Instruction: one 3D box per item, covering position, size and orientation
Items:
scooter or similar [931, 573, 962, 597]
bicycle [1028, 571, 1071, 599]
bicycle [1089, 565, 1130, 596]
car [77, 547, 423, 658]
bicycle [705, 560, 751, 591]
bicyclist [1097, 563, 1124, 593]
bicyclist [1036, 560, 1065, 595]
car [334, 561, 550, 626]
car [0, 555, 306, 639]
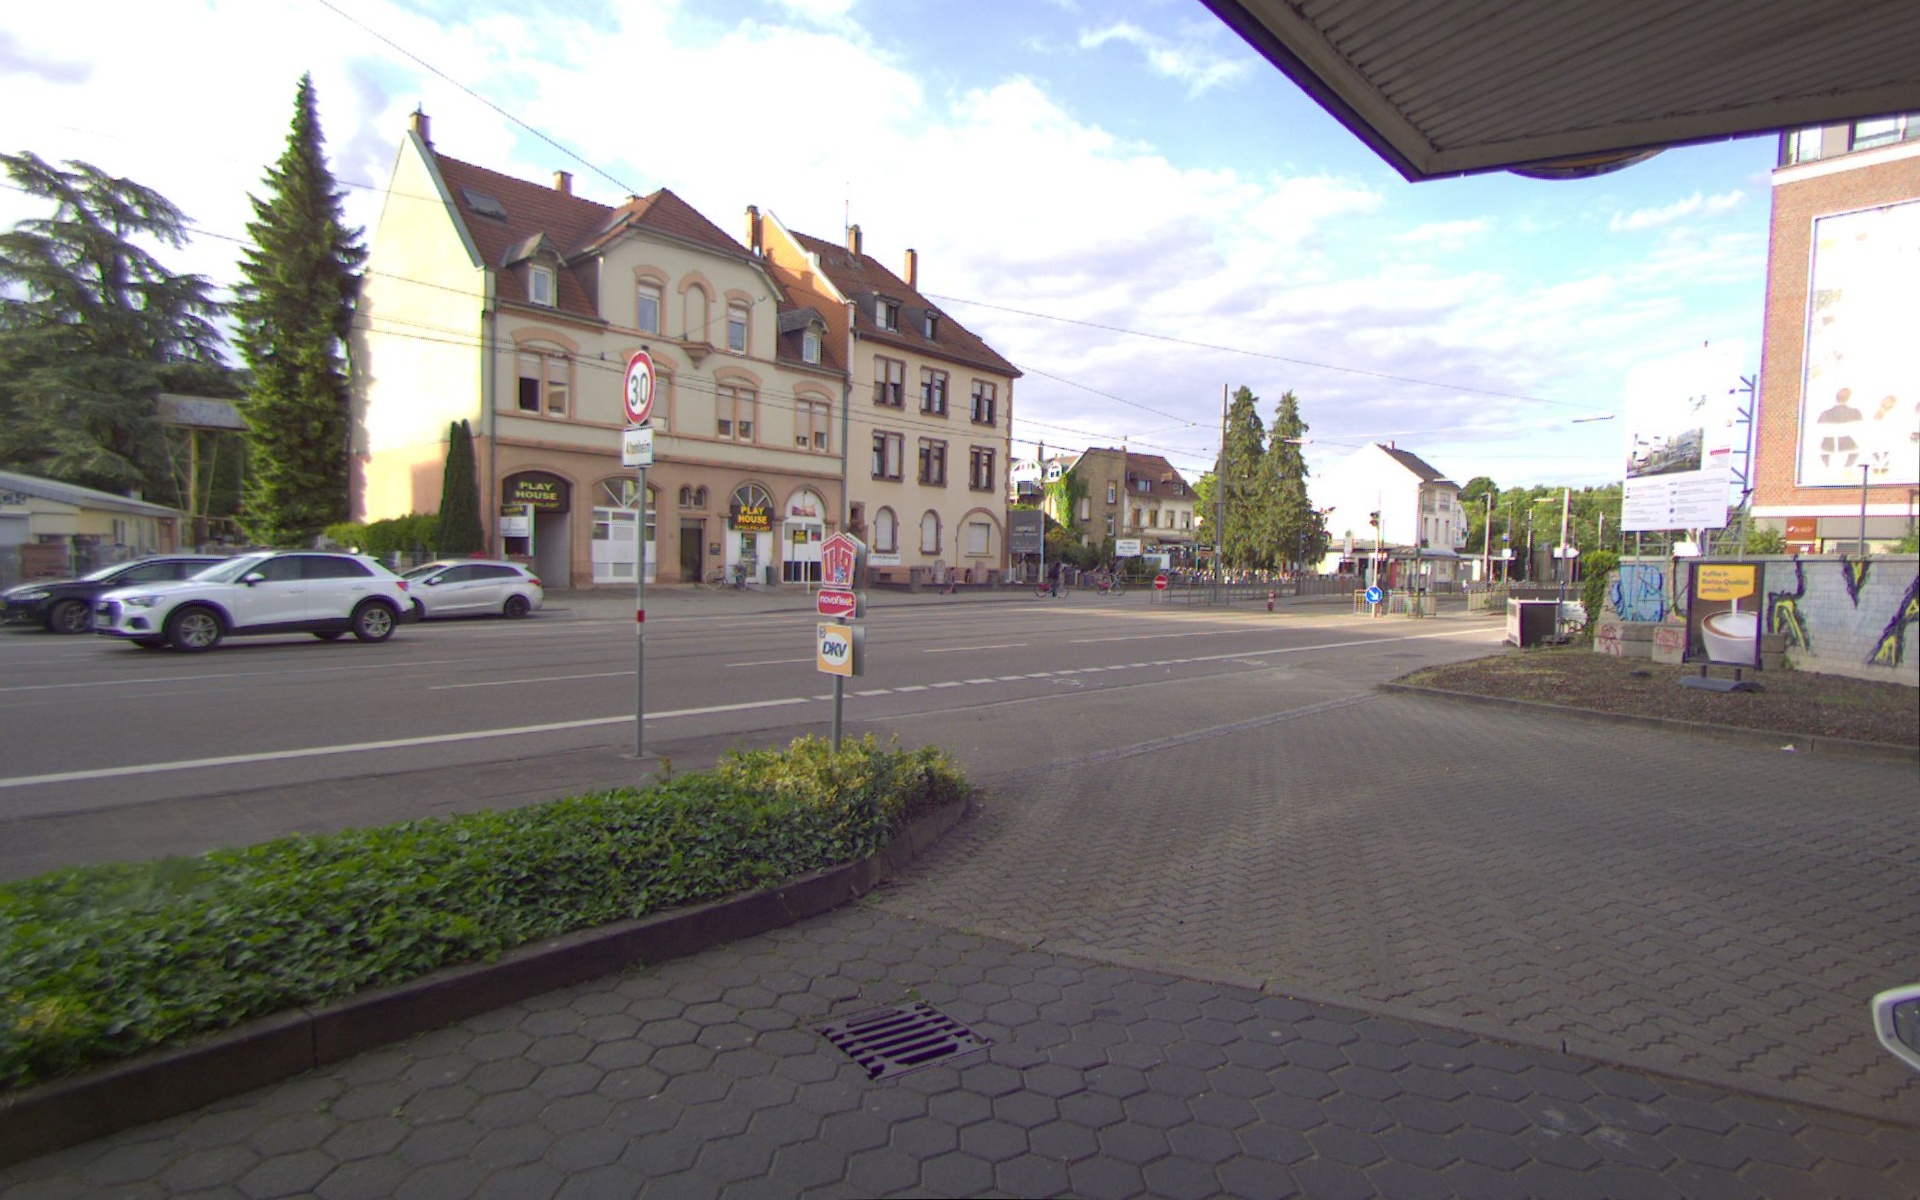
[{"bbox_3d":[-0.602,-0.684,45.129,0.488,1.015,1.592,5,5,39],"label":"scooter or similar"},{"bbox_3d":[4.343,-0.708,48.568,1.884,1.219,0.839,1,6,-31],"label":"bicycle"},{"bbox_3d":[7.899,-1.041,53.032,1.962,1.512,0.785,2,4,-21],"label":"bicycle"},{"bbox_3d":[-11.675,-0.034,16.853,1.809,1.598,4.370,1,2,31],"label":"car"},{"bbox_3d":[-9.148,-0.949,39.703,0.508,1.189,1.809,4,2,40],"label":"bicycle"},{"bbox_3d":[7.953,-1.176,53.042,1.079,1.512,0.785,2,4,-20],"label":"bicyclist"},{"bbox_3d":[4.372,-1.099,48.523,0.953,1.579,0.839,1,6,-31],"label":"bicyclist"},{"bbox_3d":[-13.007,-0.240,25.459,1.970,1.495,4.467,3,3,40],"label":"car"},{"bbox_3d":[-16.576,-0.142,20.726,1.970,1.516,4.801,3,3,40],"label":"car"}]
